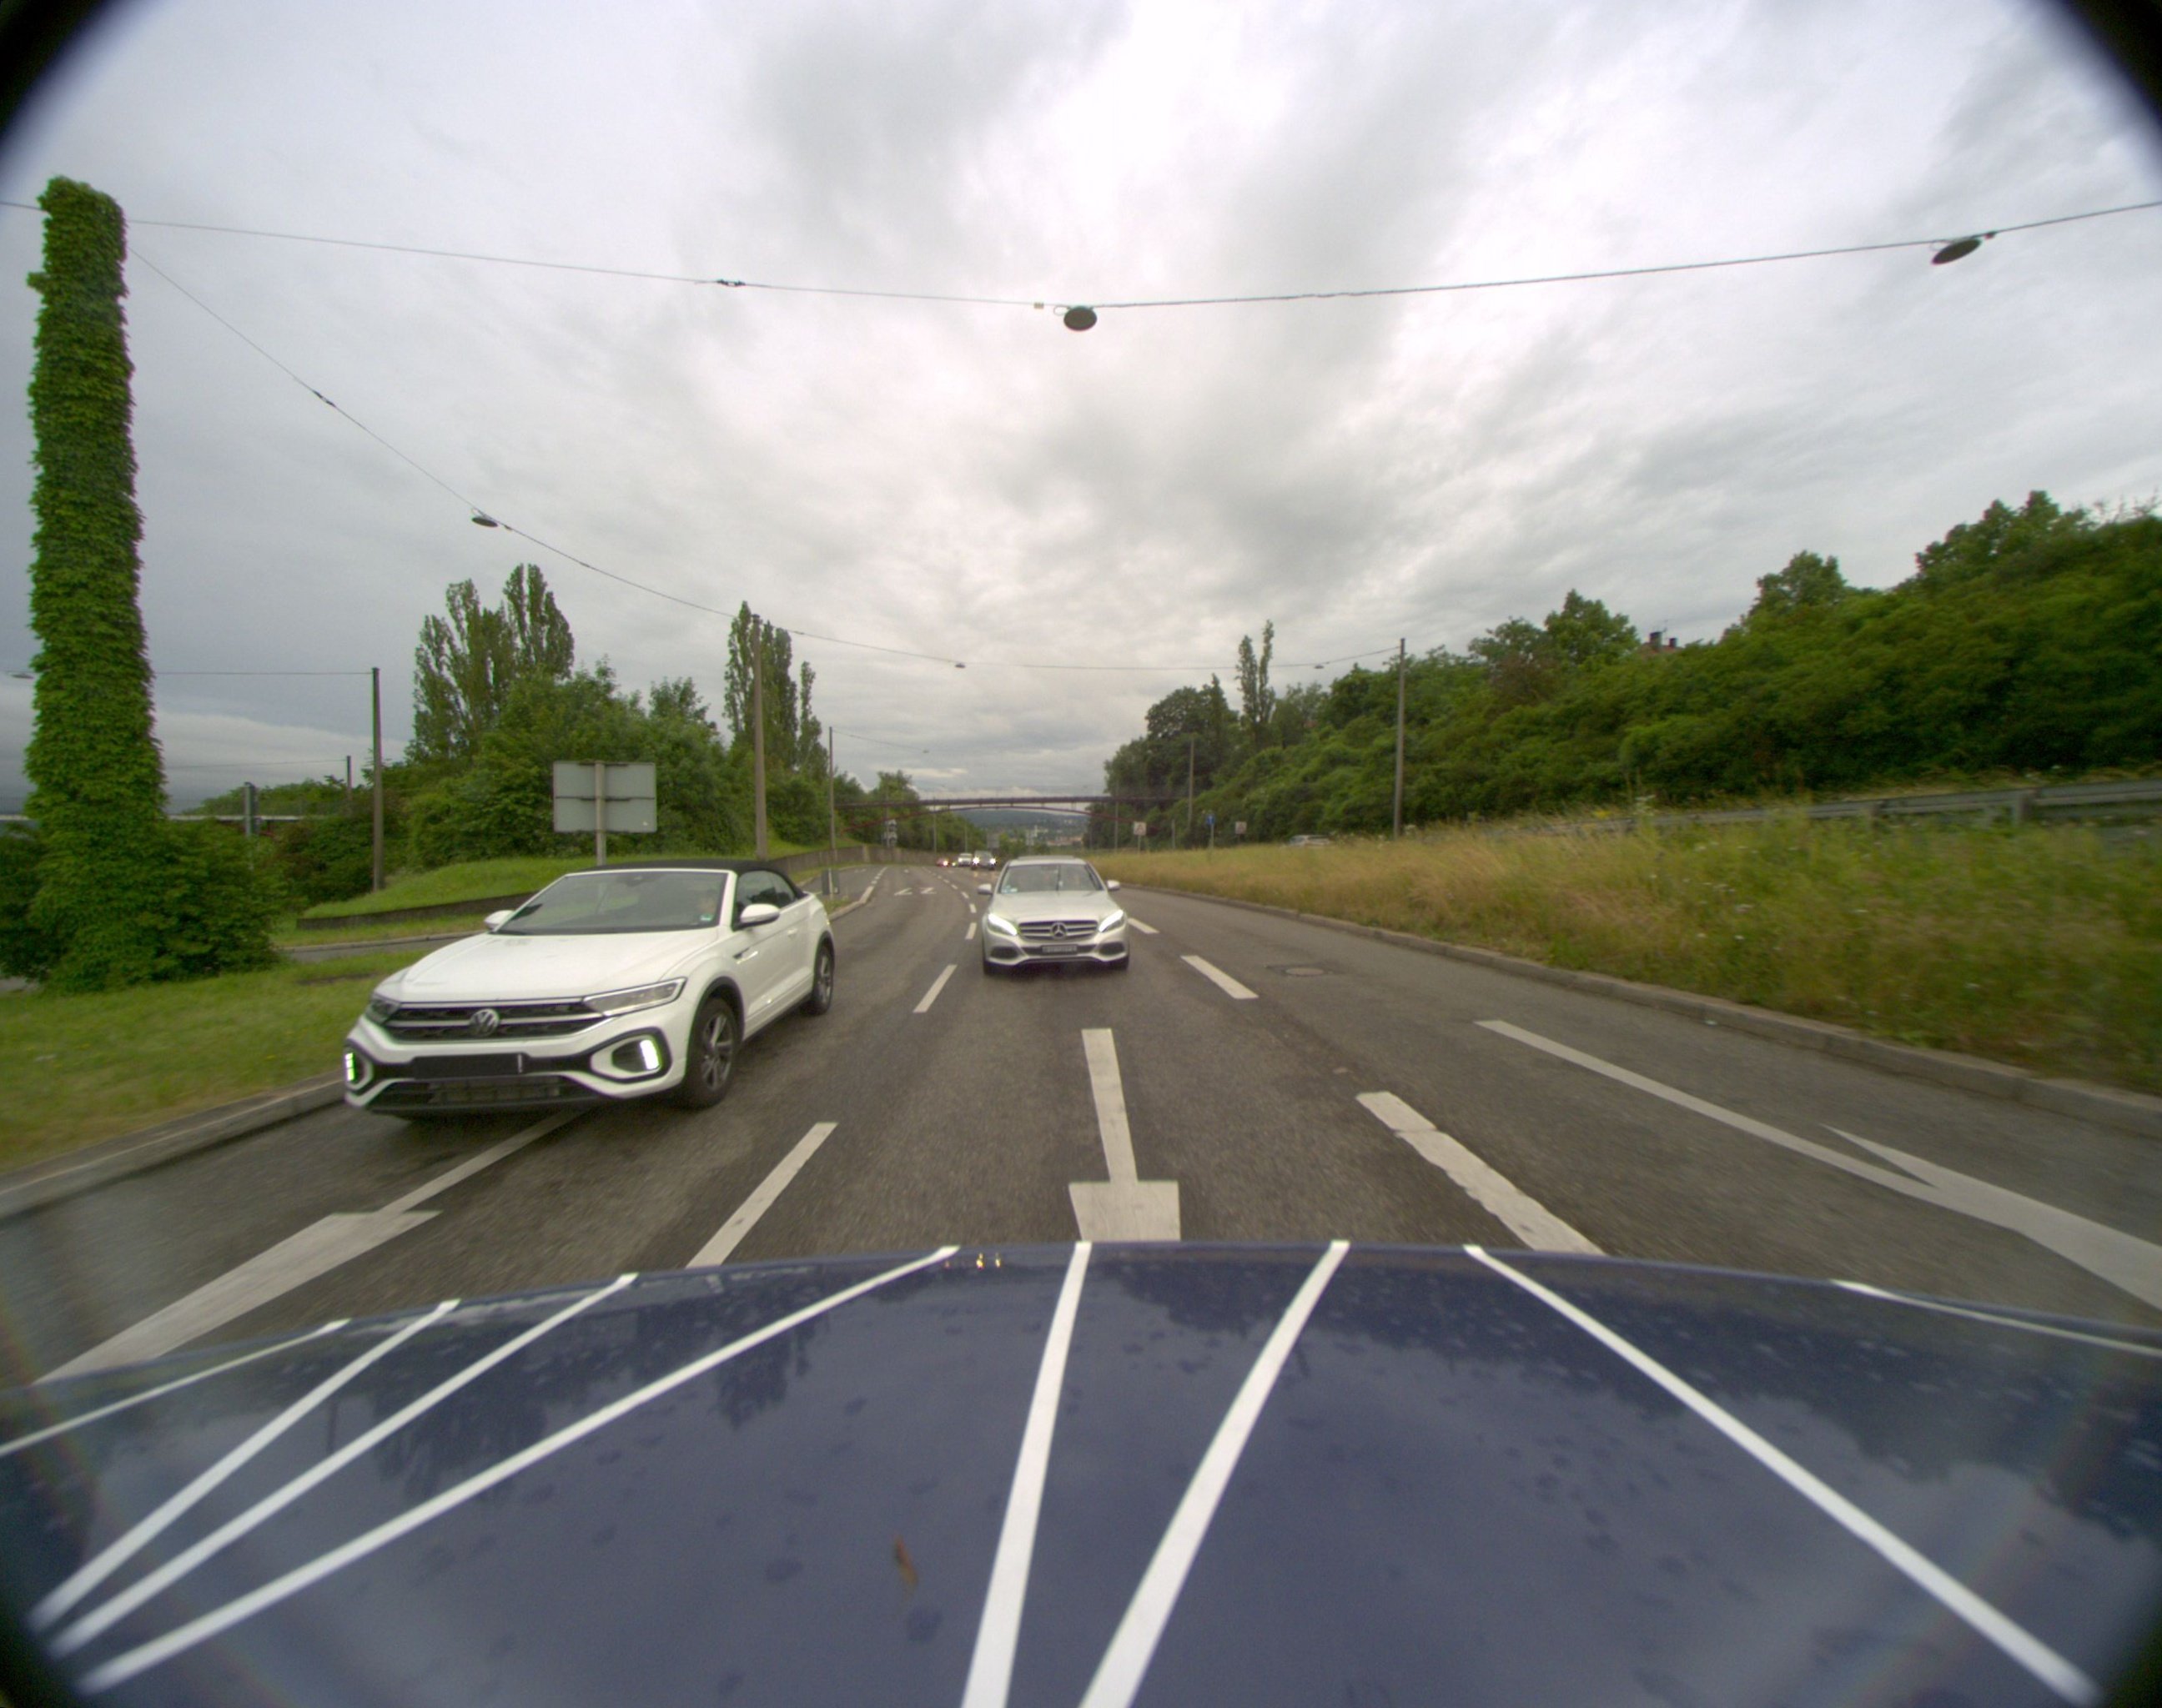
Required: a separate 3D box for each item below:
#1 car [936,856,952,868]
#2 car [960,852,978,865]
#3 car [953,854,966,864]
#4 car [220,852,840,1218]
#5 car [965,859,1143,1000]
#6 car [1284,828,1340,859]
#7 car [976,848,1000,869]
[{"bbox_3d":[-21.072,1.189,116.855,1.999,1.652,3.998,-4,0,-5],"label":"car"},{"bbox_3d":[-14.450,0.544,97.819,1.944,1.468,3.996,-4,1,-11],"label":"car"},{"bbox_3d":[-21.638,0.809,135.564,1.999,1.652,3.998,-4,0,-5],"label":"car"},{"bbox_3d":[-3.196,0.830,5.648,1.718,1.544,4.226,-1,2,-5],"label":"car"},{"bbox_3d":[-0.318,0.823,10.225,1.895,1.361,4.133,-1,2,-1],"label":"car"},{"bbox_3d":[13.124,-0.585,43.312,1.740,1.508,3.676,8,0,-3],"label":"car"},{"bbox_3d":[-8.081,0.390,65.808,1.912,1.668,3.997,-4,0,-8],"label":"car"}]
